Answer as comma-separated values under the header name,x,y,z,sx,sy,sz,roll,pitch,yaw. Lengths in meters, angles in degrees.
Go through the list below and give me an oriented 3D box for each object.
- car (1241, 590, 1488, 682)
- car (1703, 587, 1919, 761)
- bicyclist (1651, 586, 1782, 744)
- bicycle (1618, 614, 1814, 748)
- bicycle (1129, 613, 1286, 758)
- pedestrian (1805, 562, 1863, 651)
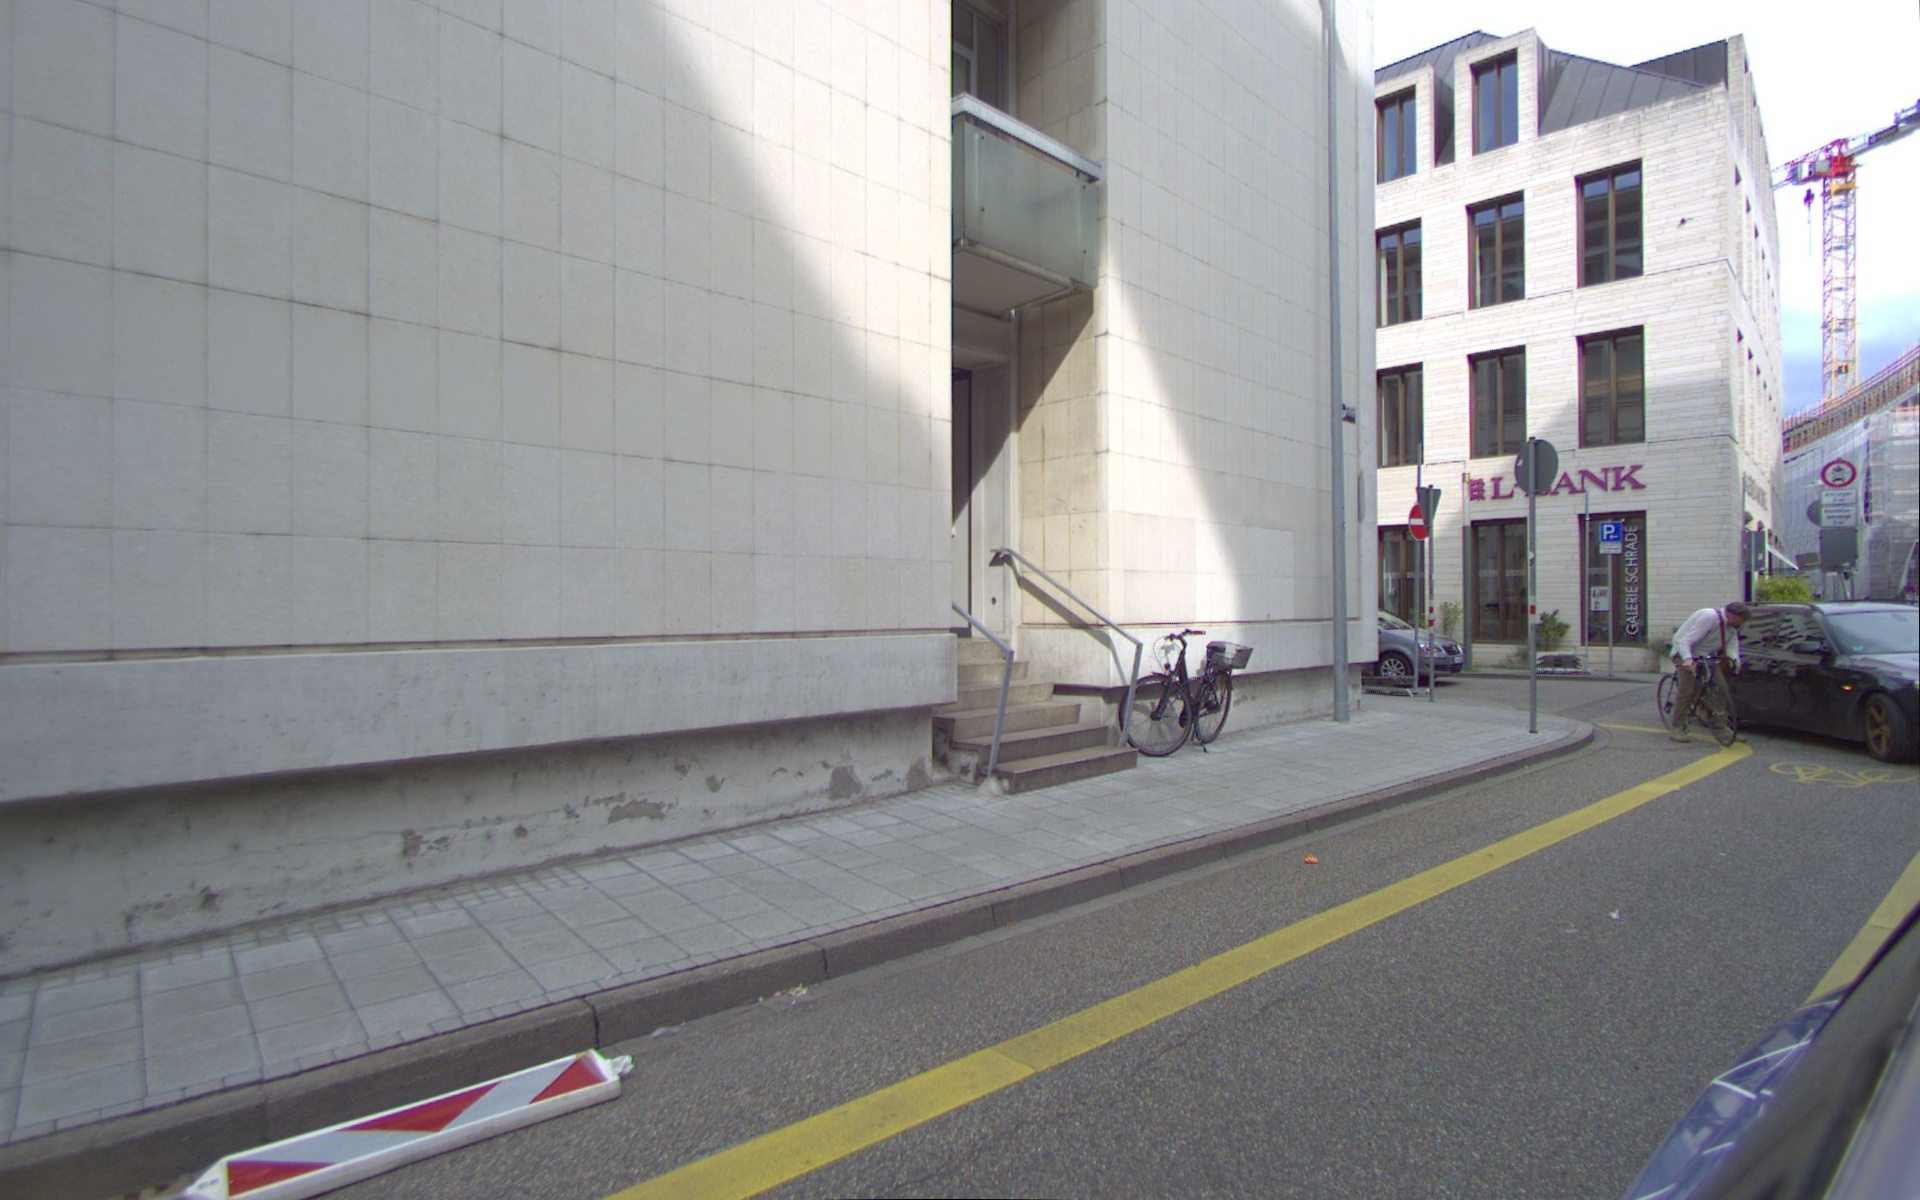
name,x,y,z,sx,sy,sz,roll,pitch,yaw
car,7.878,0.626,19.987,1.784,1.610,4.187,-1,0,-42
car,9.382,0.628,10.051,1.690,1.509,3.754,-1,0,10
bicyclist,8.103,0.663,10.888,0.881,1.614,0.872,0,0,19
bicycle,8.192,0.790,11.158,0.860,1.209,2.847,0,0,18
bicycle,2.315,0.727,9.342,0.588,1.182,1.786,0,0,44
pedestrian,18.691,0.126,21.660,0.767,1.854,0.853,0,0,29
